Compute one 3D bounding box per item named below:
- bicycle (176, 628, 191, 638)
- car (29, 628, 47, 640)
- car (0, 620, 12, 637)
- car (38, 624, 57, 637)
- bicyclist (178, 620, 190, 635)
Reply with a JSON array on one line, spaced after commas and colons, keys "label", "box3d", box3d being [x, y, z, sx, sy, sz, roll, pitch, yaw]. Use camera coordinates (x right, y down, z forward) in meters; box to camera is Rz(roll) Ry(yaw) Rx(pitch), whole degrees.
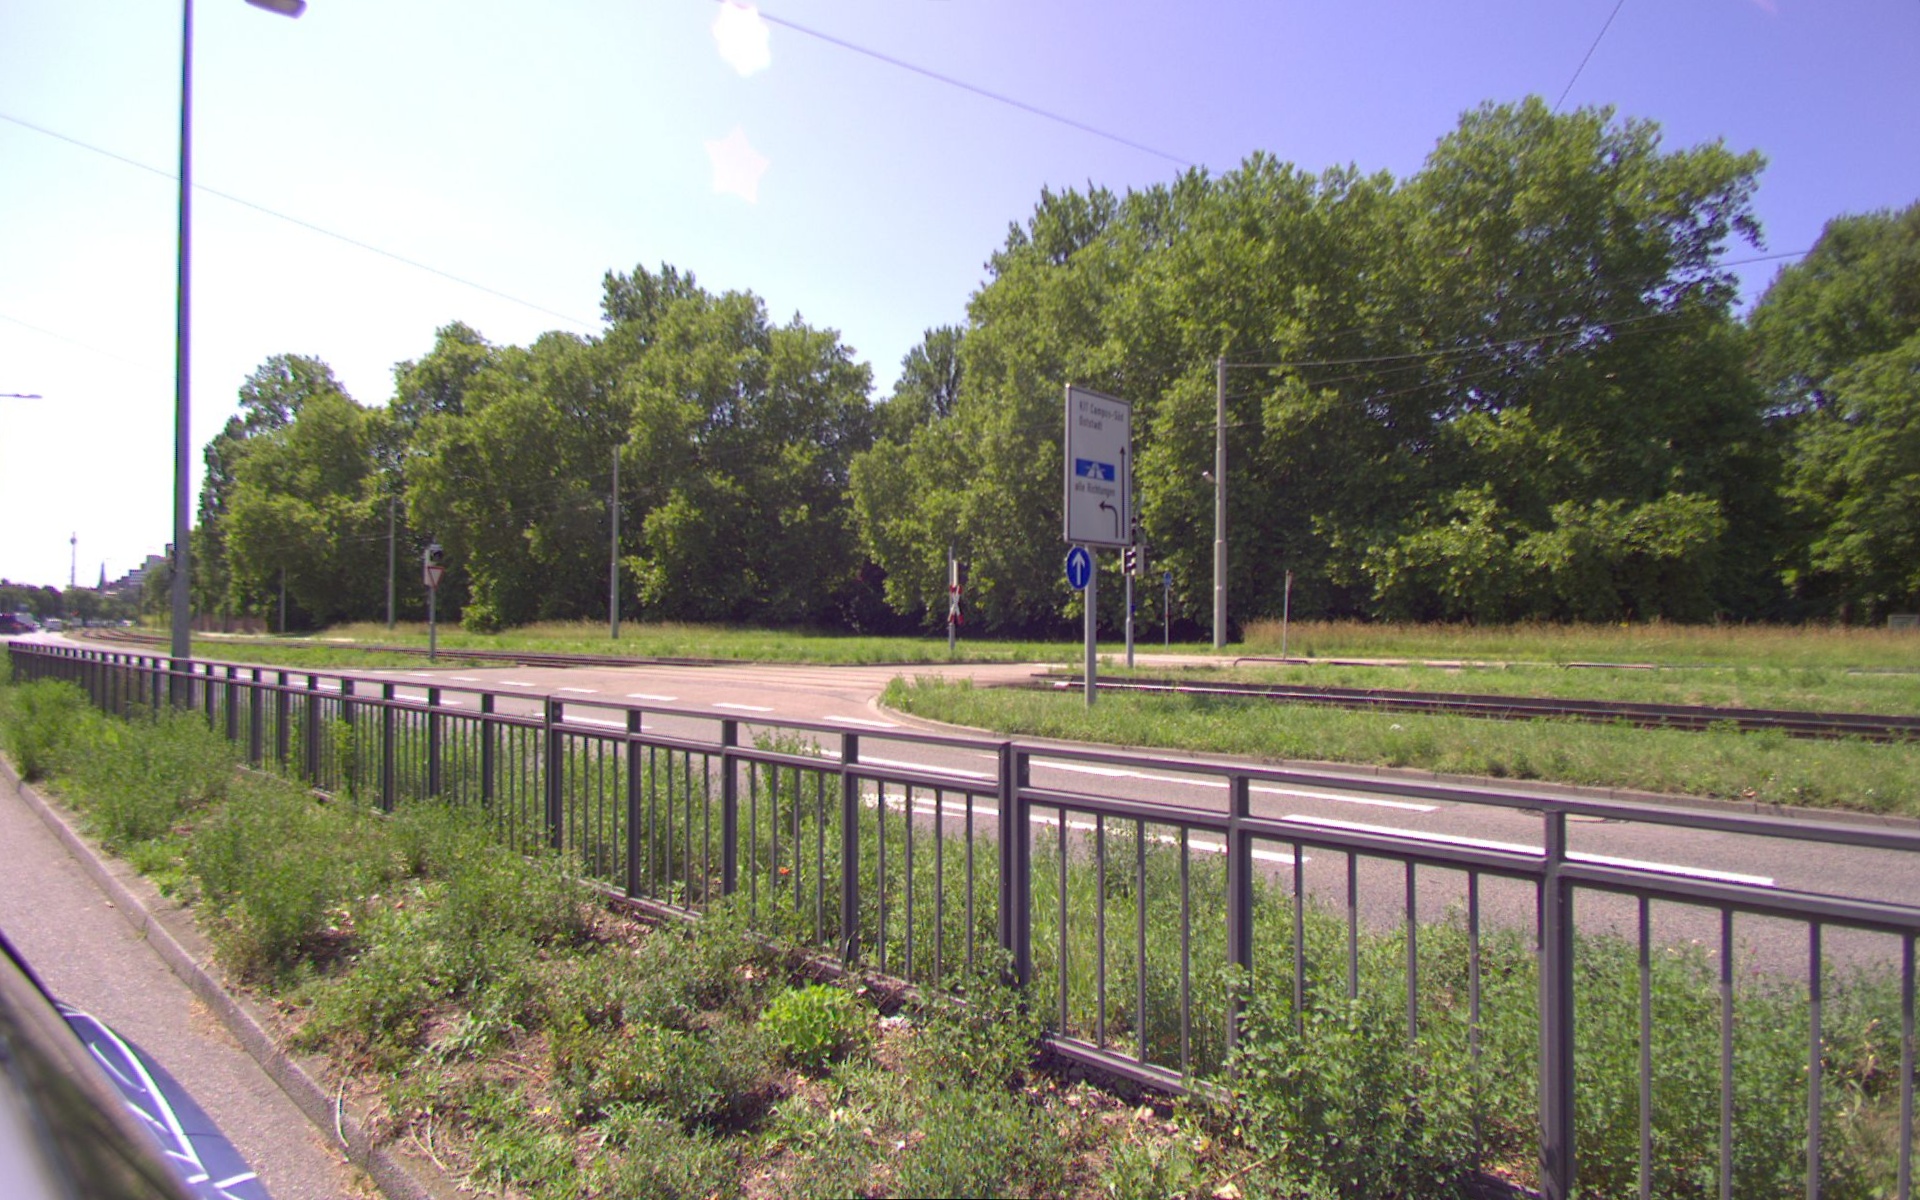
[{"label": "bicycle", "box3d": [-89.984, 3.780, 117.284, 2.785, 1.171, 0.851, -1, -2, 41]}, {"label": "car", "box3d": [-142.140, 5.240, 155.985, 1.970, 1.871, 4.003, 1, -2, -44]}, {"label": "car", "box3d": [-107.665, 3.176, 113.434, 1.970, 1.871, 4.004, 1, -2, -43]}, {"label": "car", "box3d": [-136.816, 4.509, 151.770, 1.970, 1.871, 4.003, 1, -2, -44]}, {"label": "bicyclist", "box3d": [-89.930, 3.175, 117.282, 1.117, 1.820, 0.851, -1, -2, 41]}]
